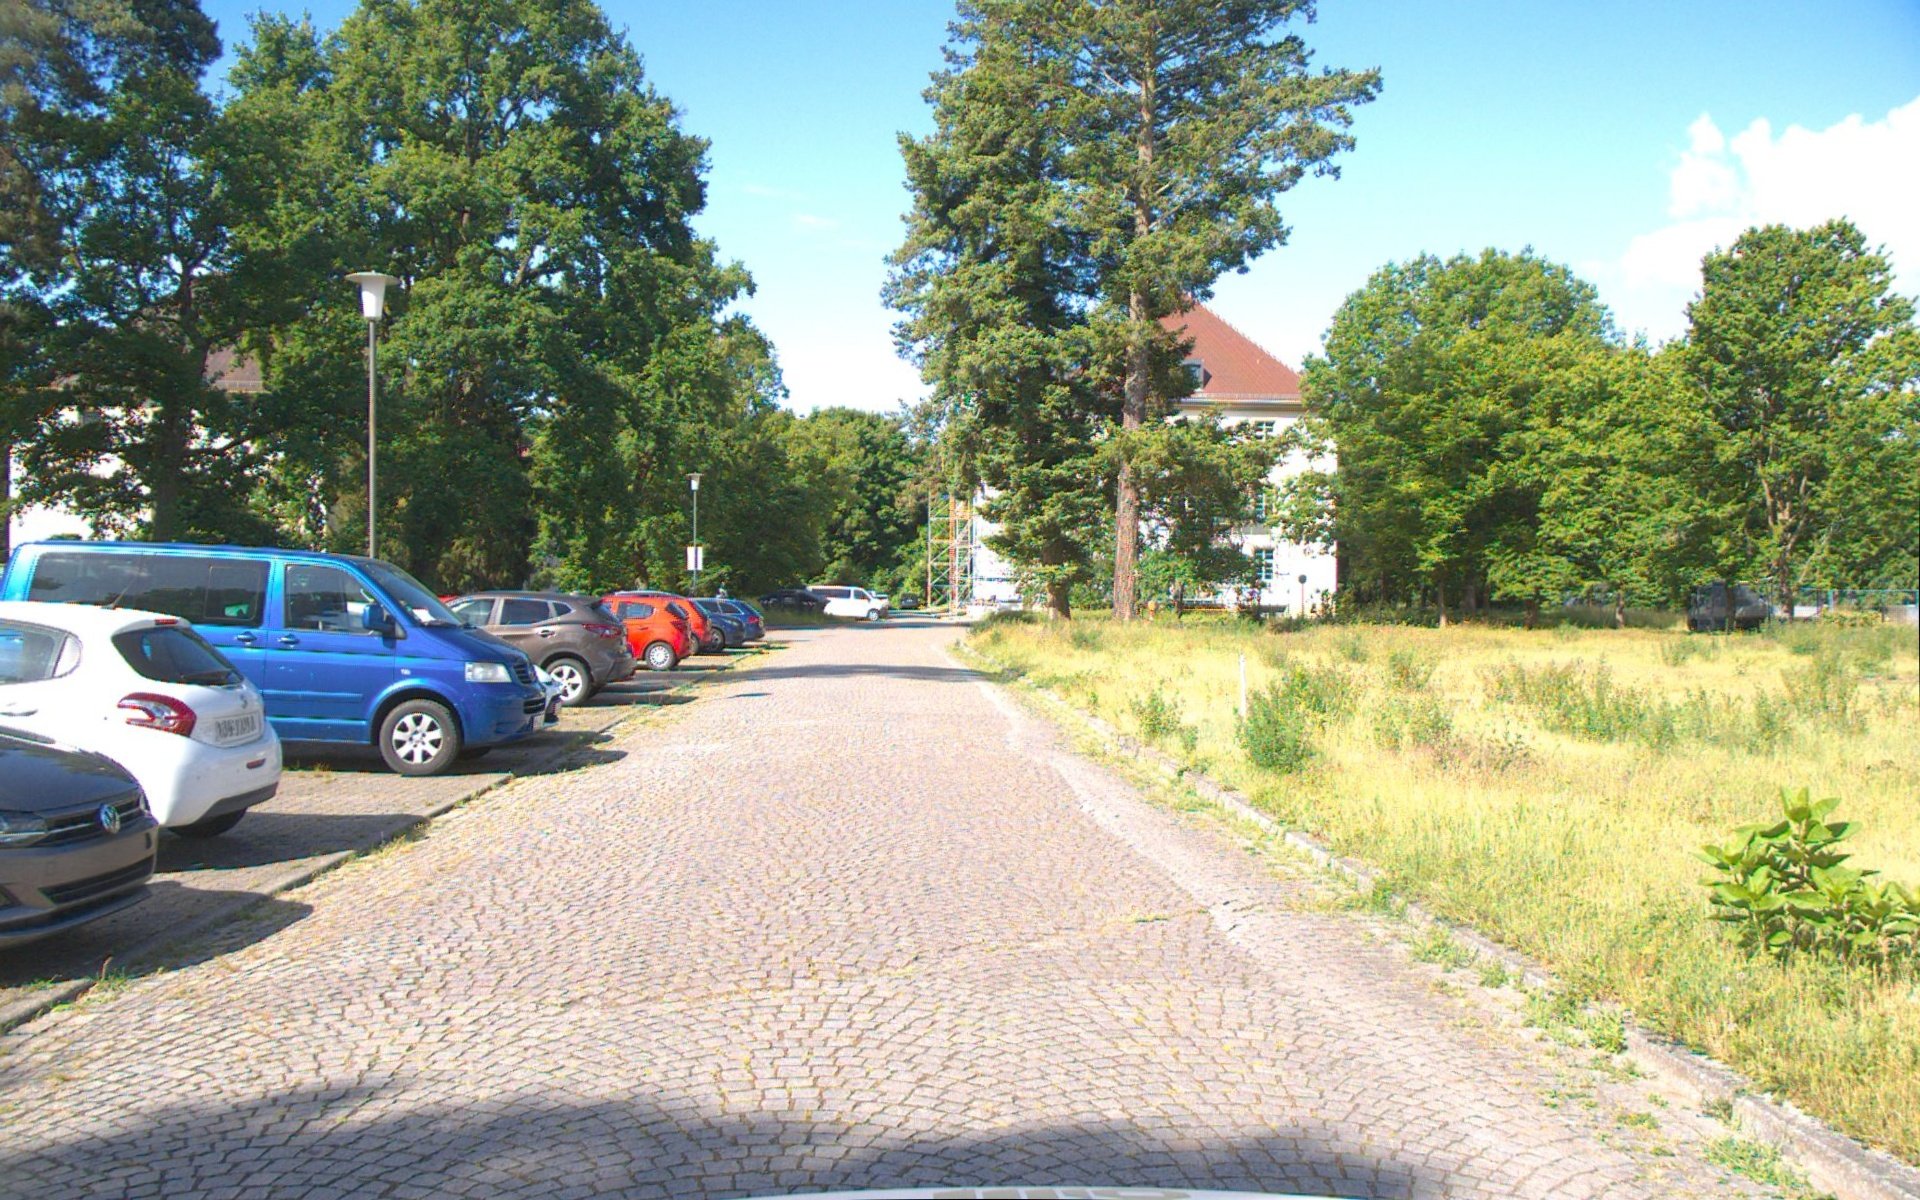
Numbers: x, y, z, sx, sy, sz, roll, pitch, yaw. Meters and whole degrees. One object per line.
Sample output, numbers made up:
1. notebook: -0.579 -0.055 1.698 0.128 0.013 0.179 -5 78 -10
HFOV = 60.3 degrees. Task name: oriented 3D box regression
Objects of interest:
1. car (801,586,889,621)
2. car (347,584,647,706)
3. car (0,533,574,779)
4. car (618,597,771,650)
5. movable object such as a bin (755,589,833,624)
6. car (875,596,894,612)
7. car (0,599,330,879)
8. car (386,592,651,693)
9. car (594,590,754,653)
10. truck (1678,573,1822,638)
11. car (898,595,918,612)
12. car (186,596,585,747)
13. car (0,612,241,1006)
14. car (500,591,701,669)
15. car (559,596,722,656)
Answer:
1. car: -6.829 0.222 98.506 5.131 2.051 1.949 0 0 -4
2. car: -6.685 0.630 24.257 3.876 1.595 1.972 2 1 -5
3. car: -6.136 0.493 15.339 4.624 2.002 2.004 2 0 -3
4. car: -7.898 0.688 49.505 4.270 1.470 1.920 1 0 -1
5. movable object such as a bin: -8.541 0.344 85.293 3.490 1.775 2.026 0 0 15
6. car: -7.543 0.415 164.549 1.776 1.607 4.132 0 0 -4
7. car: -6.241 0.752 10.035 4.113 1.501 1.823 1 0 -3
8. car: -7.117 0.670 26.965 3.846 1.474 1.865 2 0 -5
9. car: -7.700 0.578 44.829 4.053 1.607 1.883 1 0 -3
10. truck: 32.254 0.228 67.845 2.189 2.466 6.881 2 0 -4
11. car: -5.206 0.355 164.988 1.932 1.697 4.083 0 0 -4
12. car: -6.109 0.747 17.950 3.742 1.465 1.681 2 0 -6
13. car: -5.560 0.772 7.190 3.995 1.450 1.922 1 0 -2
14. car: -7.445 0.611 34.548 3.846 1.486 1.840 1 0 -5
15. car: -8.145 0.653 42.403 3.844 1.458 1.841 1 0 -2
